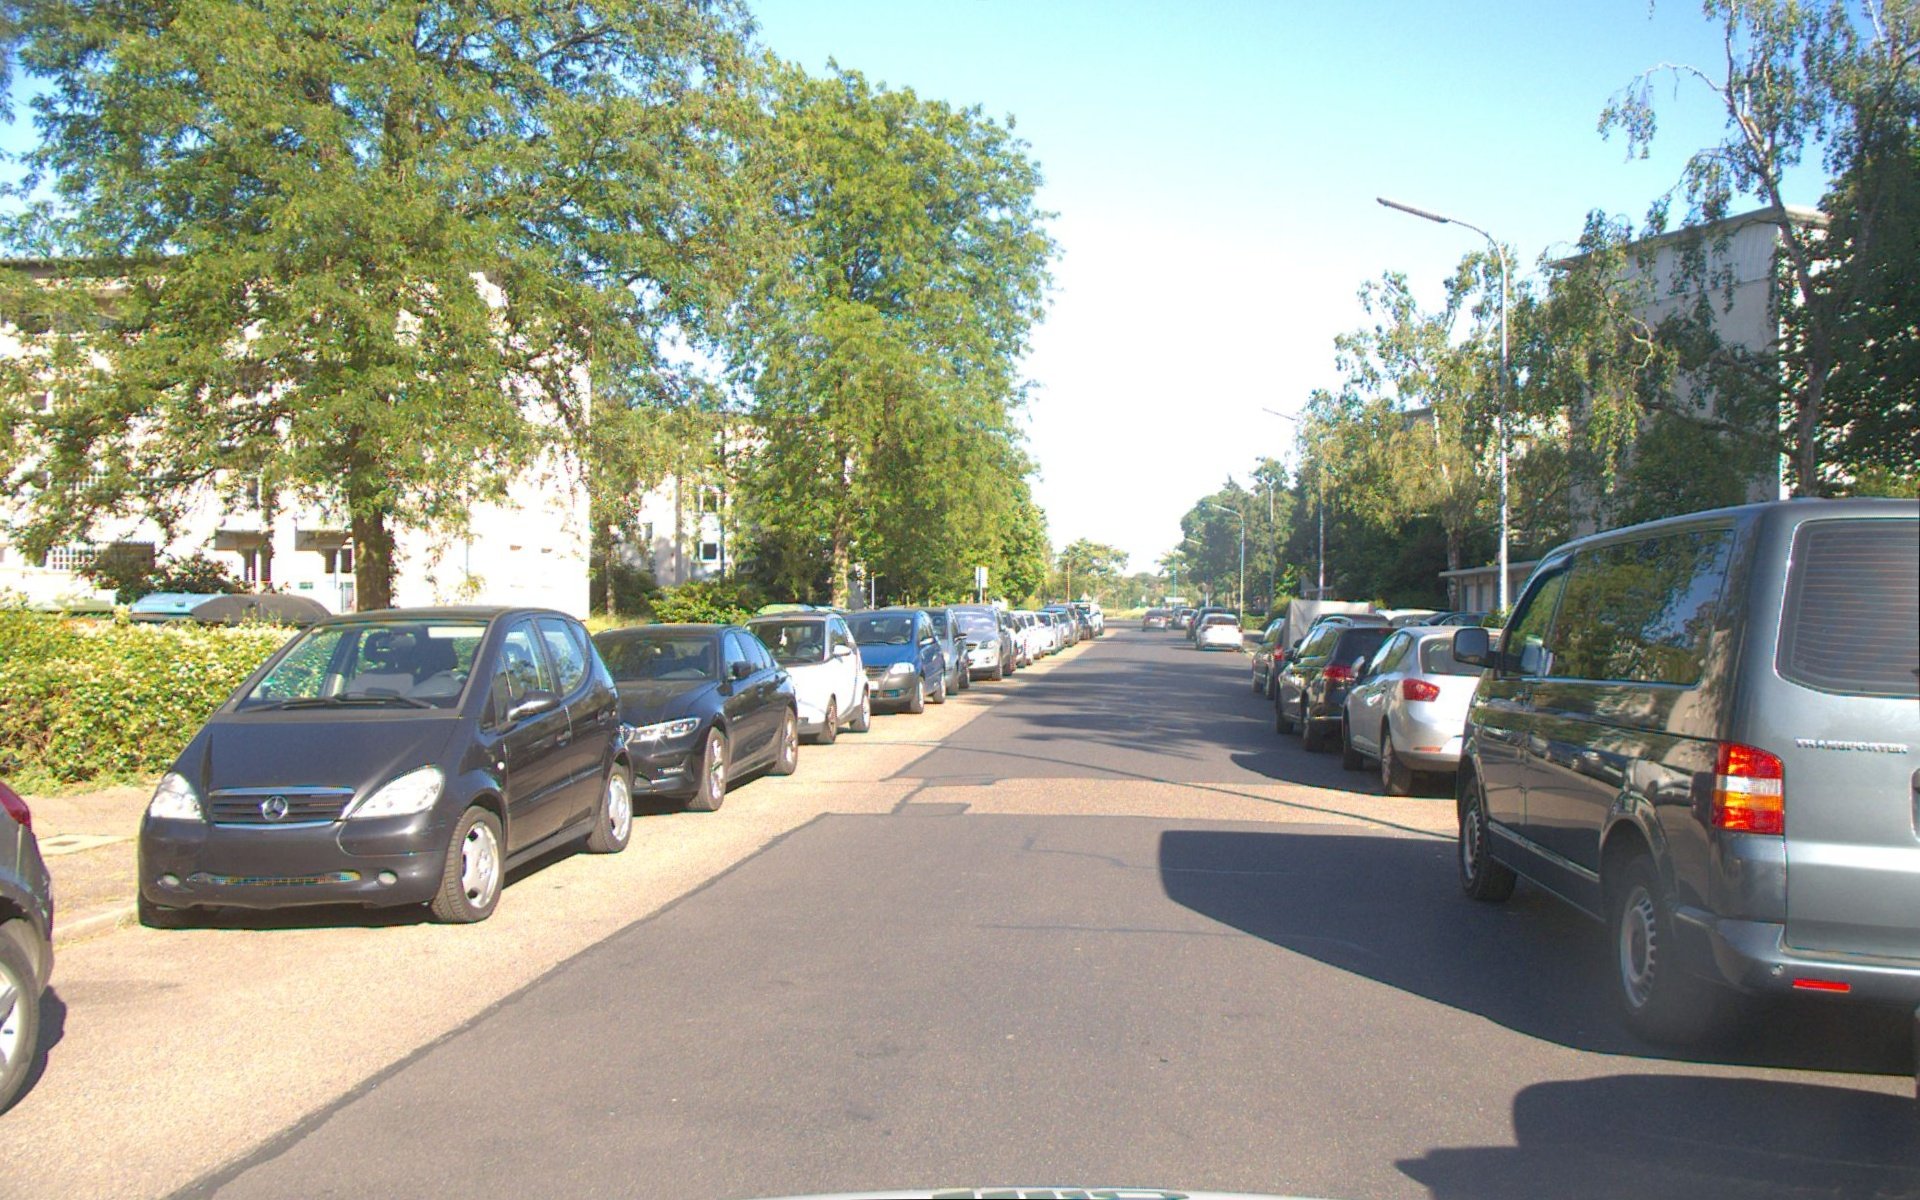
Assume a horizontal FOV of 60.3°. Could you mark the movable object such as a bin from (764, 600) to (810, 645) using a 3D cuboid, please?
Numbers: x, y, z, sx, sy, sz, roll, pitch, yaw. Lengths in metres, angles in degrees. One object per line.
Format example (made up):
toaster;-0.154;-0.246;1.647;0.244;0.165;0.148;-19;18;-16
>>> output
movable object such as a bin;-5.794;0.753;55.587;1.152;1.445;1.463;3;0;8

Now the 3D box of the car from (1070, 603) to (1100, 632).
car;7.482;1.040;99.386;1.710;1.699;4.380;-1;0;4

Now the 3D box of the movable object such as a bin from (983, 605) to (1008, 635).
movable object such as a bin;1.764;0.982;81.857;1.078;1.445;1.362;3;0;7

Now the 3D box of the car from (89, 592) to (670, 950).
car;-3.021;0.801;9.493;1.717;1.601;3.722;-2;0;5

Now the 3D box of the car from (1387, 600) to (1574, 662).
car;13.588;0.805;43.389;4.417;1.540;1.830;-1;0;8

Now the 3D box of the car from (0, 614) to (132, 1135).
car;-3.847;0.828;3.550;1.717;1.507;3.962;-2;0;8

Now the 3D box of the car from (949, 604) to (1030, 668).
car;0.800;0.892;42.461;1.627;1.540;3.948;-1;0;7

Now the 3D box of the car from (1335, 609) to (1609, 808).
car;4.513;0.867;15.125;1.588;1.516;4.039;2;0;6

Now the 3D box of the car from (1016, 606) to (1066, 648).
car;3.208;1.028;64.773;1.651;1.490;4.528;-2;0;6

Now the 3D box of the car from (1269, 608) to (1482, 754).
car;4.839;0.880;19.843;1.695;1.516;4.503;-1;0;4

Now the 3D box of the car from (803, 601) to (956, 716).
car;-1.195;0.874;26.343;1.717;1.634;3.971;-2;0;7

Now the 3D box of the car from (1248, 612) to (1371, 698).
car;6.417;0.969;30.703;1.695;1.428;3.897;2;0;4

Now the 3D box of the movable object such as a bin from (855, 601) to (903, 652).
movable object such as a bin;-2.301;0.749;47.175;1.112;1.381;1.244;3;0;8

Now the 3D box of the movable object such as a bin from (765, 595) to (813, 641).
movable object such as a bin;-5.560;0.576;53.907;1.152;1.445;1.463;3;0;8

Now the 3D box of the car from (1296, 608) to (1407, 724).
car;5.650;0.906;24.059;1.385;1.550;2.560;1;0;10

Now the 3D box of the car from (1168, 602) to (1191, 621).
car;19.508;0.993;147.300;1.758;1.672;3.953;1;0;4

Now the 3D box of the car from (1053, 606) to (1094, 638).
car;5.861;1.114;85.043;1.709;1.560;4.142;-1;0;9

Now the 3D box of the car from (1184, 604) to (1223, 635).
car;12.824;1.014;87.222;1.867;1.557;4.331;1;0;6

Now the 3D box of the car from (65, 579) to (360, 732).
car;-9.060;0.619;20.419;1.537;1.669;4.002;1;0;5

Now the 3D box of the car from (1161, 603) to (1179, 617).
car;23.114;1.086;182.293;1.758;1.576;3.953;1;0;4

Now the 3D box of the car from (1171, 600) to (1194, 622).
car;19.231;0.918;143.032;1.758;1.818;3.953;1;0;4

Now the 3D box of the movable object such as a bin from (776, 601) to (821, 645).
movable object such as a bin;-5.558;0.768;57.091;1.152;1.445;1.463;3;0;8

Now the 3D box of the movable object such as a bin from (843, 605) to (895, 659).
movable object such as a bin;-2.504;0.873;45.736;1.112;1.407;1.443;3;0;8

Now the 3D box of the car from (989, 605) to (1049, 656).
car;1.937;0.952;53.509;1.651;1.562;3.893;-1;0;6

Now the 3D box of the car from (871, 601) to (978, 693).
car;-0.612;0.849;31.374;1.601;1.634;3.537;-1;0;5

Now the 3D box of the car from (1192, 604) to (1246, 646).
car;10.179;0.960;65.261;1.716;1.540;4.106;2;0;4

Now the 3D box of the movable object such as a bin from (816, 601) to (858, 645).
movable object such as a bin;-4.259;0.794;57.360;1.110;1.445;1.362;3;0;8

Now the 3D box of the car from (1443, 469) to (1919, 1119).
car;3.545;0.612;7.348;1.813;1.968;4.708;2;0;6

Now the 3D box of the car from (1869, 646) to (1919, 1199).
car;3.000;0.852;2.020;1.762;1.443;4.639;1;0;8

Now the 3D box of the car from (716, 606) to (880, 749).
car;-1.952;0.908;20.713;1.414;1.601;3.144;-2;0;5

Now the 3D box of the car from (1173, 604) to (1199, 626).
car;17.349;1.137;127.051;1.758;1.589;3.953;1;0;4

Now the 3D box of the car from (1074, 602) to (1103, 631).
car;8.174;1.011;104.904;1.709;1.762;4.008;-1;0;6

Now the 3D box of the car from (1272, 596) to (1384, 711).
car;5.960;0.829;26.963;1.457;1.748;2.585;2;0;6

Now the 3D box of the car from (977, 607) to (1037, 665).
car;1.308;0.997;47.233;1.628;1.540;3.538;-1;0;0

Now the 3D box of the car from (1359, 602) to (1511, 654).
car;14.785;0.873;51.684;4.321;1.540;1.830;-1;0;7

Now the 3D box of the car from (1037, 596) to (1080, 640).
car;4.560;0.791;75.947;1.815;1.925;4.420;-1;0;5

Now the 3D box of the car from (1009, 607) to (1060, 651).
car;2.690;1.017;59.242;1.651;1.532;3.820;-1;0;5

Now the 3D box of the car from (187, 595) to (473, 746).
car;-7.249;0.748;19.464;1.537;1.552;4.002;1;0;5

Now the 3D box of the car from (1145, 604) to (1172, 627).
car;13.758;1.042;114.867;1.644;1.540;4.106;2;0;4

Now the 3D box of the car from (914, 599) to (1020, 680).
car;0.217;0.827;36.794;1.862;1.668;4.352;-1;0;6

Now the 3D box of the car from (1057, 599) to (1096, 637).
car;6.462;0.952;91.149;1.874;1.997;5.091;-1;0;7

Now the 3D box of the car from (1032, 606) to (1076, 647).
car;3.980;1.097;69.587;1.673;1.628;3.988;-2;0;5

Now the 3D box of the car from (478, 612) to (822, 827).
car;-2.473;0.896;14.414;1.717;1.507;4.540;-2;0;5
